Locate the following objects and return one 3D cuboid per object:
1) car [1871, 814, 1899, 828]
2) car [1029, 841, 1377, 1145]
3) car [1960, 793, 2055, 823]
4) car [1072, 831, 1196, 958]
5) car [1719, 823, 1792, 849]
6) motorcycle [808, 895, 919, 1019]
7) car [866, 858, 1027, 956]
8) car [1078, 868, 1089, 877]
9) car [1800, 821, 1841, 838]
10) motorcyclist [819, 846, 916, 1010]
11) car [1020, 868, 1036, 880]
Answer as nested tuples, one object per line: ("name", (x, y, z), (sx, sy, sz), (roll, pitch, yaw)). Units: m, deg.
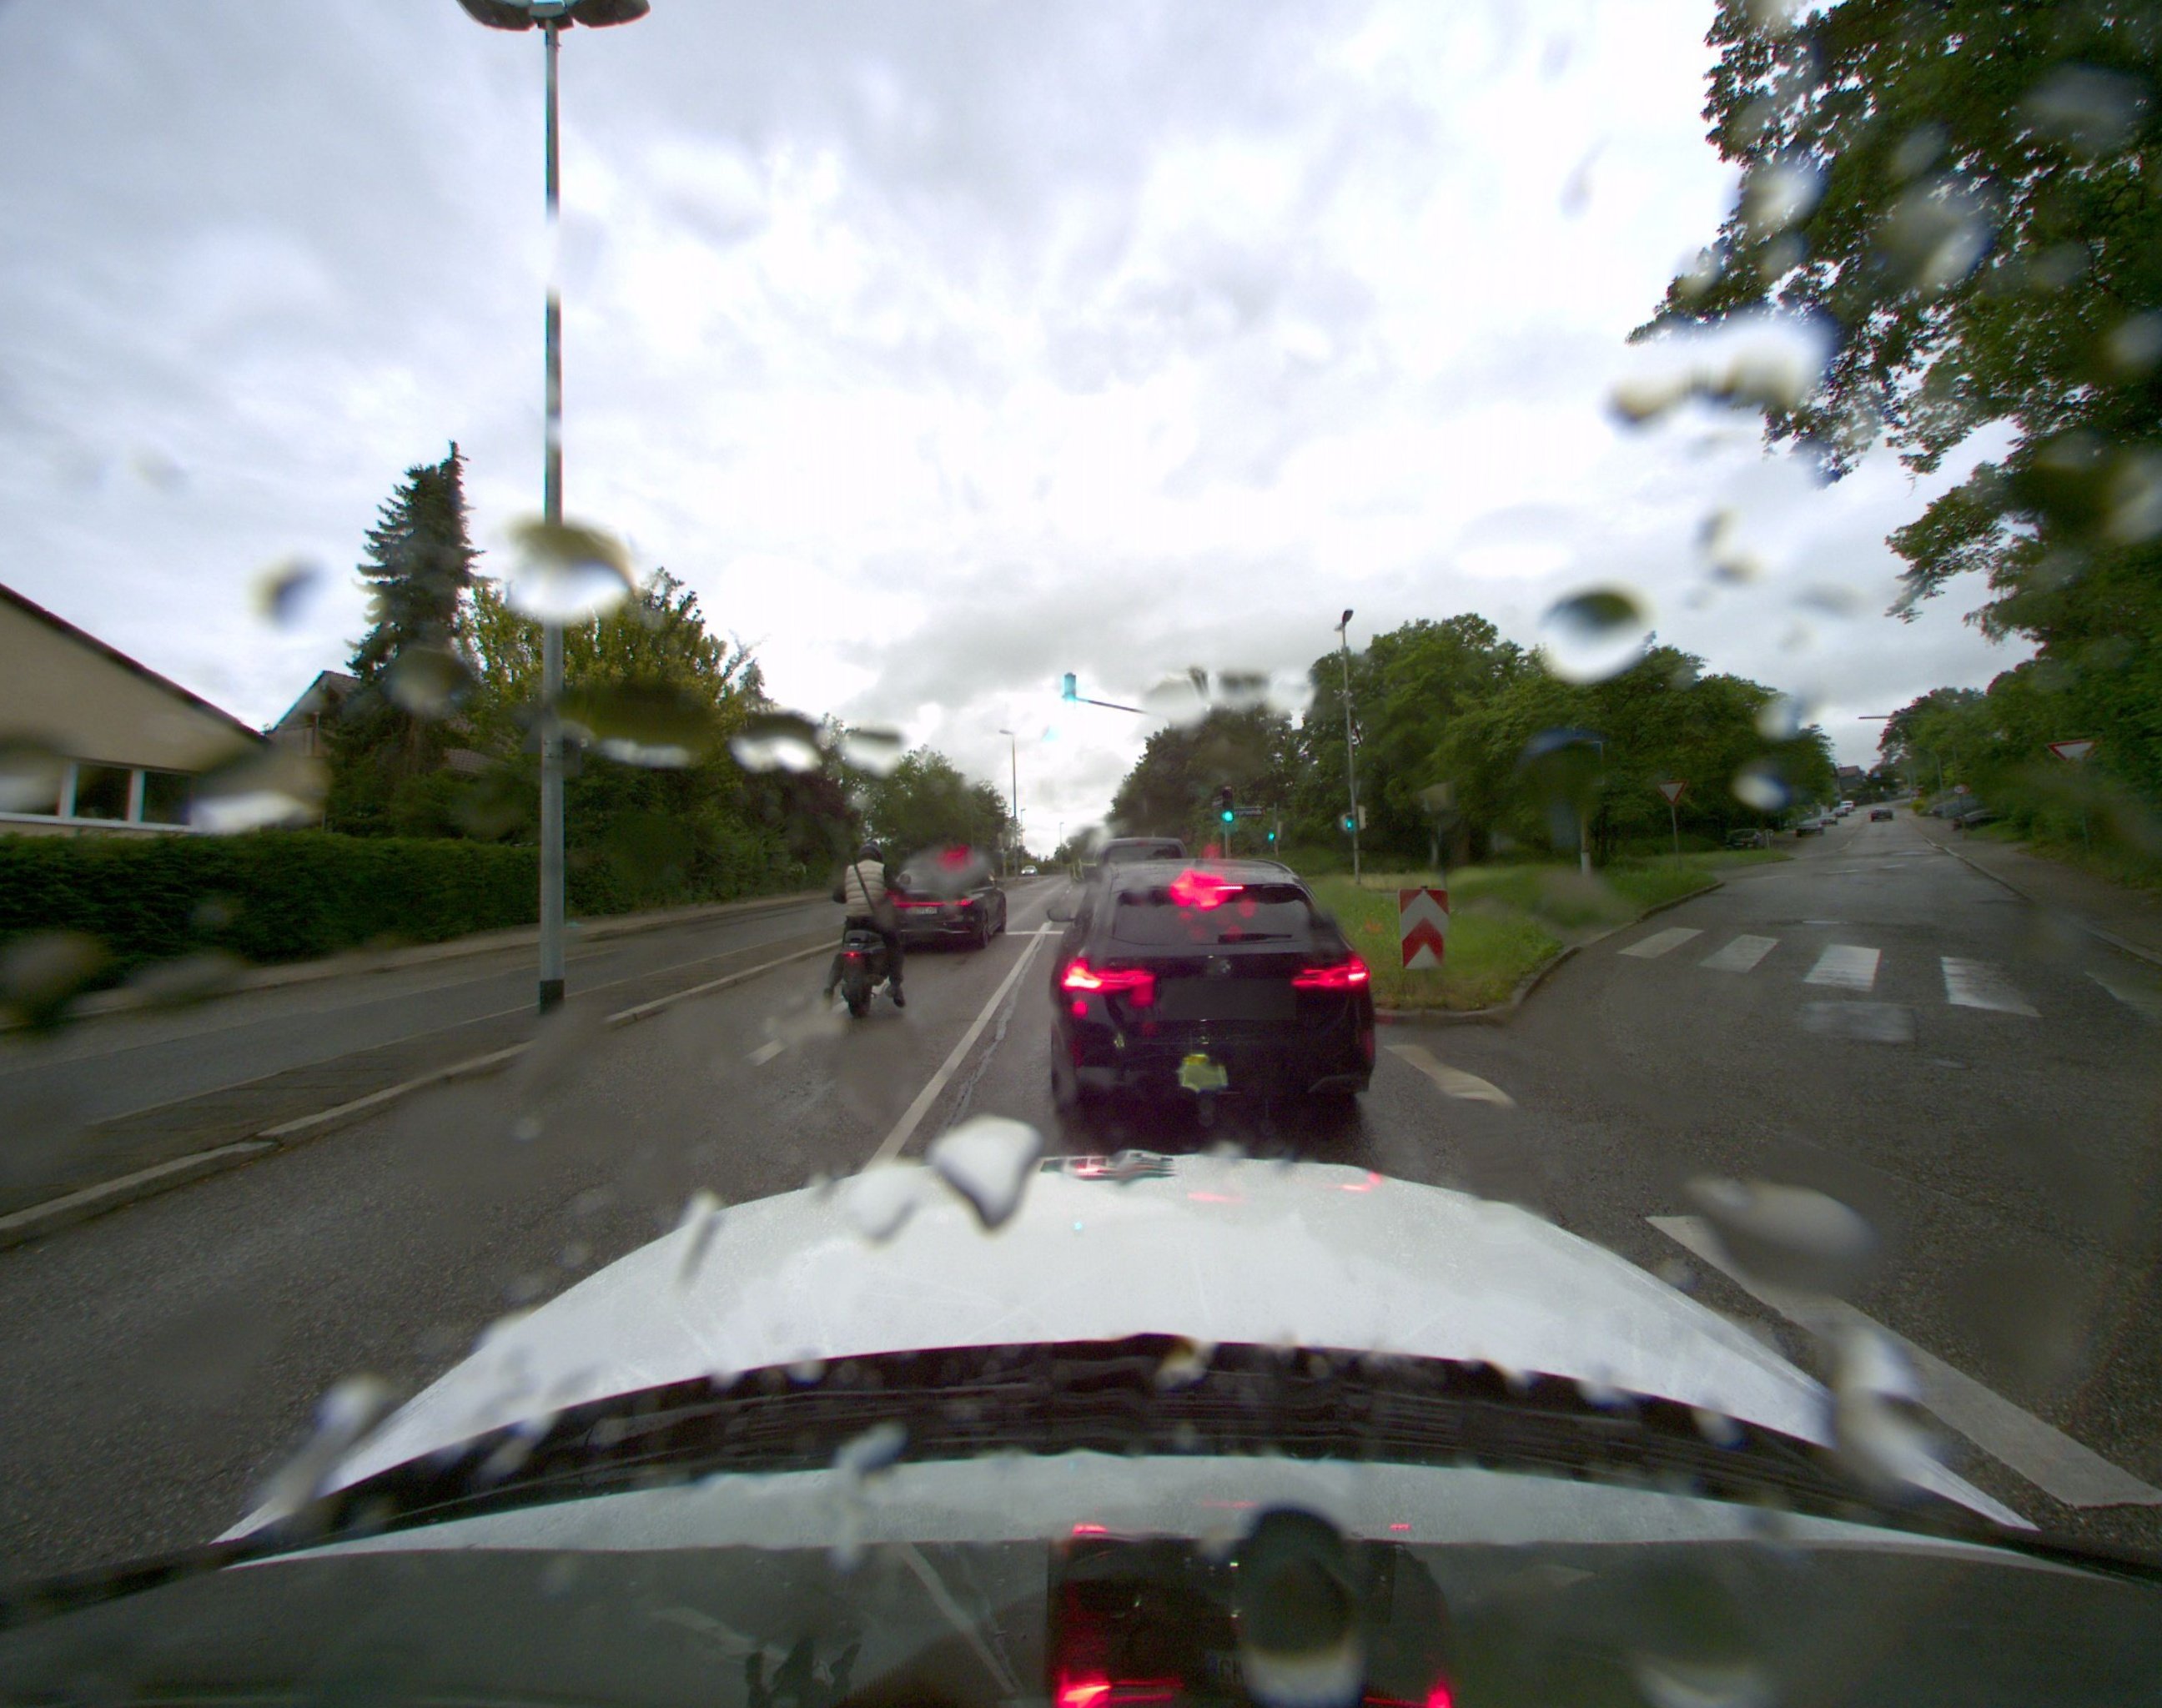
("car", (92.061, -3.779, 93.283), (1.921, 1.458, 4.242), (-1, -1, 41))
("car", (0.683, 0.736, 6.020), (1.758, 1.536, 3.674), (-1, -1, 2))
("car", (61.097, -3.014, 53.793), (1.969, 1.648, 3.950), (-2, 0, -45))
("car", (0.834, 0.579, 13.718), (1.760, 1.810, 3.907), (-1, 0, 2))
("car", (45.953, -1.228, 55.518), (3.994, 1.571, 1.819), (-2, 0, -15))
("motorcycle", (-2.245, 1.028, 8.587), (0.738, 1.119, 1.427), (-1, 0, 2))
("car", (-2.203, 0.830, 14.680), (2.007, 1.415, 4.488), (-1, 0, 2))
("car", (0.426, 3.559, 154.422), (2.018, 1.563, 3.877), (-3, -1, 1))
("car", (66.368, -2.177, 73.093), (4.014, 1.446, 1.686), (0, -1, -32))
("motorcyclist", (-2.216, 0.751, 8.493), (0.842, 1.647, 0.468), (-1, 0, 1))
("car", (-7.392, 2.851, 114.079), (1.721, 1.485, 4.157), (-4, 0, 1))
